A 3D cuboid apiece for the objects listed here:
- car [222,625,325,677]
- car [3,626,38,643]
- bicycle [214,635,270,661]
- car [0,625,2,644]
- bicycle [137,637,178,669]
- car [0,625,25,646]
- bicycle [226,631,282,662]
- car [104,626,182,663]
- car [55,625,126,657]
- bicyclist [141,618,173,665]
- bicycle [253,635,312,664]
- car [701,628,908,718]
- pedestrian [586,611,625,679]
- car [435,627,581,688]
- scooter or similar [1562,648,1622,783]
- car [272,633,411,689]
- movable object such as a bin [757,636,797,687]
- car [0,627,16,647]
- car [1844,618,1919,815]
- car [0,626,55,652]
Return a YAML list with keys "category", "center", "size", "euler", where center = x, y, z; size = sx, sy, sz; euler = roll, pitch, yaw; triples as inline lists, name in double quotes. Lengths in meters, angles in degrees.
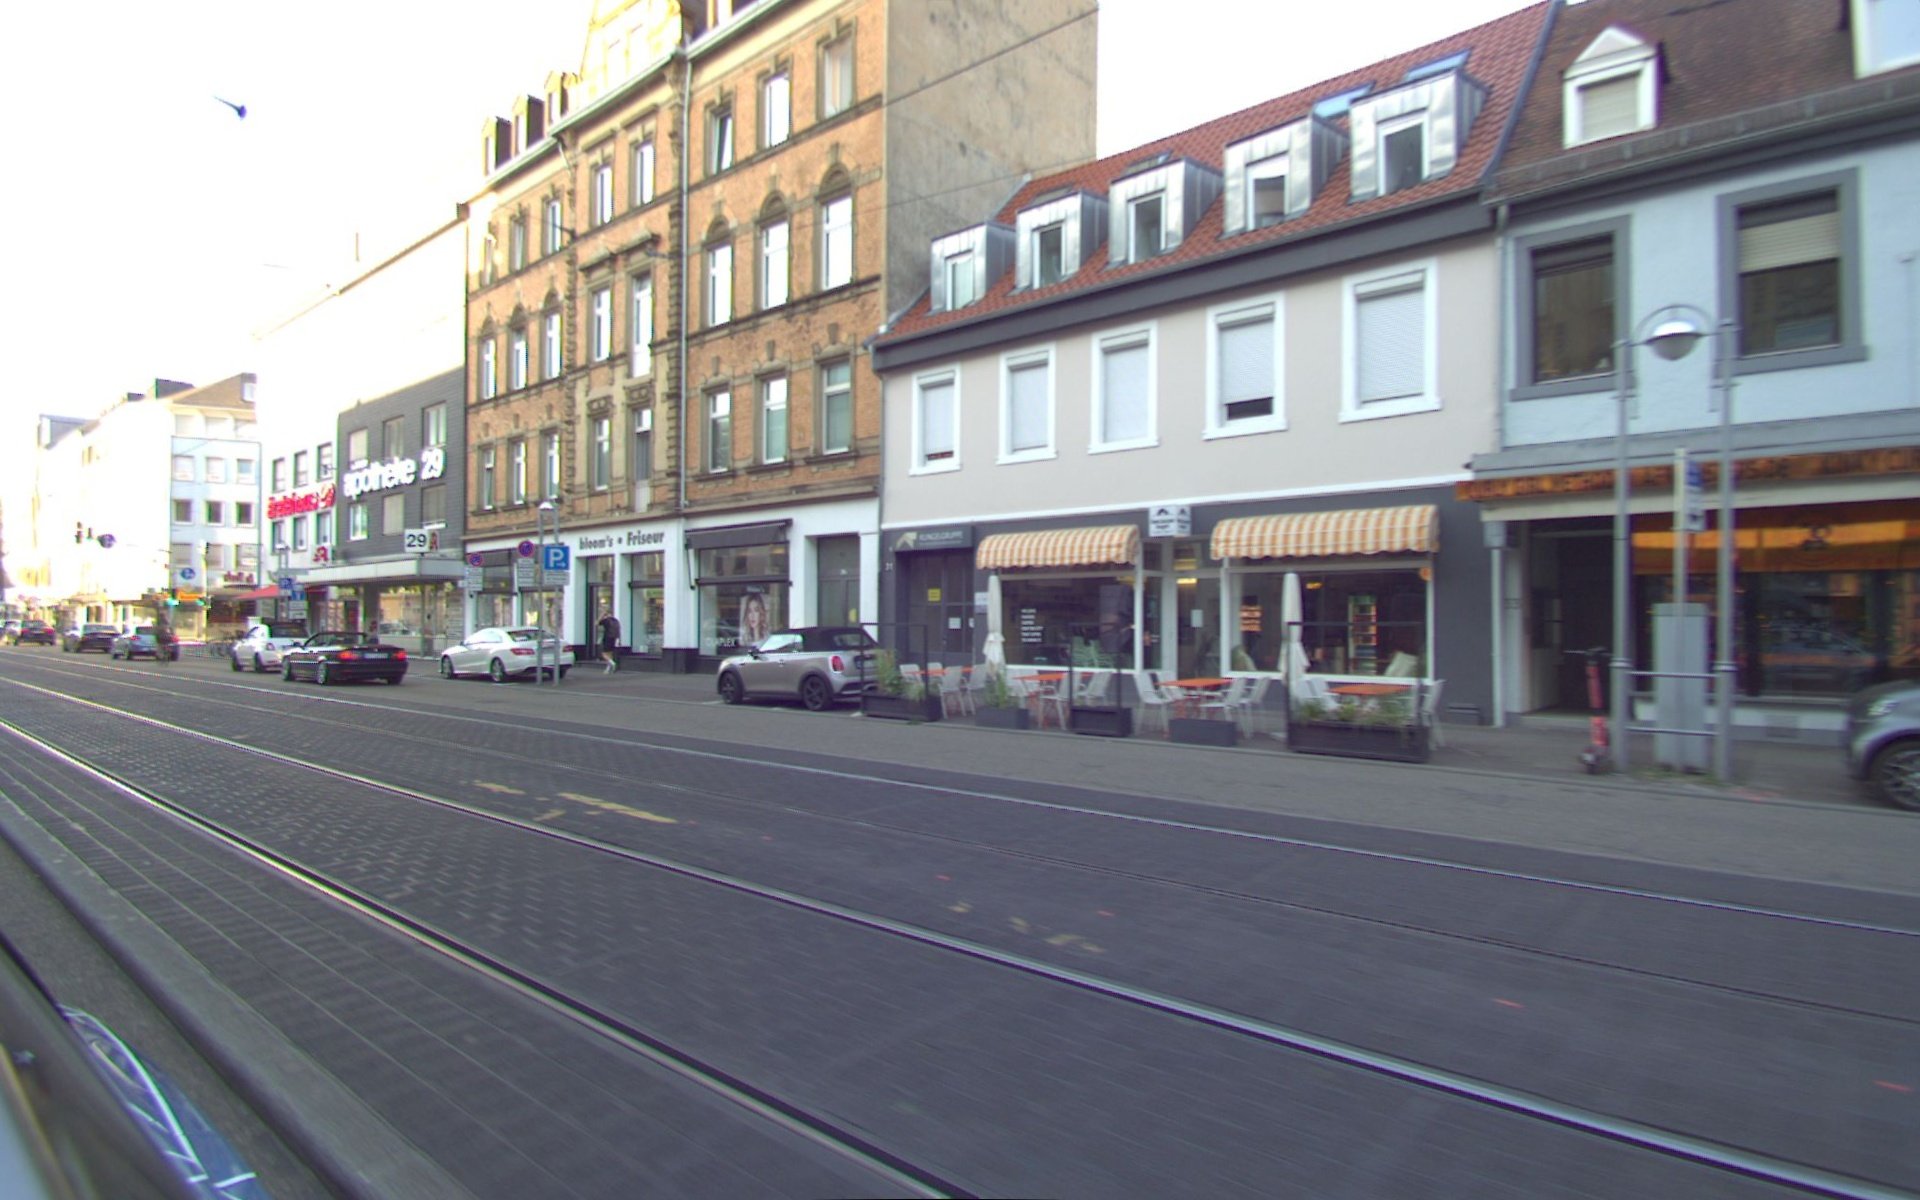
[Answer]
- category: "car"
  center: [-21.108, 1.550, 31.075]
  size: [3.678, 1.517, 1.650]
  euler: [-1, -4, 41]
- category: "car"
  center: [-75.067, 2.722, 80.866]
  size: [4.001, 1.304, 1.822]
  euler: [-1, -2, 44]
- category: "bicycle"
  center: [-30.789, 2.040, 43.432]
  size: [0.607, 0.991, 1.837]
  euler: [-1, 1, 41]
- category: "car"
  center: [-89.475, 3.167, 93.060]
  size: [4.001, 1.647, 1.822]
  euler: [-1, -2, 44]
- category: "bicycle"
  center: [-27.187, 1.782, 34.272]
  size: [2.080, 1.042, 0.686]
  euler: [-1, -2, 40]
- category: "car"
  center: [-78.636, 2.899, 83.596]
  size: [4.001, 1.647, 1.822]
  euler: [-1, -2, 44]
- category: "bicycle"
  center: [-29.670, 1.950, 42.558]
  size: [0.607, 1.143, 1.837]
  euler: [-1, 1, 41]
- category: "car"
  center: [-32.841, 1.767, 40.671]
  size: [4.059, 1.397, 1.740]
  euler: [-1, -4, 42]
- category: "car"
  center: [-41.307, 1.944, 48.061]
  size: [4.562, 1.397, 1.894]
  euler: [-1, -4, 42]
- category: "bicyclist"
  center: [-27.226, 1.386, 34.305]
  size: [0.798, 1.577, 0.686]
  euler: [-1, -2, 39]
- category: "bicycle"
  center: [-26.517, 1.924, 39.629]
  size: [0.462, 0.991, 1.837]
  euler: [-1, 1, 41]
- category: "car"
  center: [-2.939, 1.257, 18.708]
  size: [3.863, 1.400, 1.716]
  euler: [-1, 1, 42]
- category: "pedestrian"
  center: [-9.583, 1.196, 27.364]
  size: [0.854, 1.786, 0.641]
  euler: [-1, -1, 41]
- category: "car"
  center: [-11.972, 1.457, 26.696]
  size: [4.269, 1.400, 1.742]
  euler: [-1, 1, 39]
- category: "scooter or similar"
  center: [6.450, 1.140, 10.315]
  size: [0.294, 1.214, 1.300]
  euler: [-1, 0, 41]
- category: "car"
  center: [-15.321, 1.470, 24.989]
  size: [4.271, 1.237, 1.650]
  euler: [-1, -4, 41]
- category: "movable object such as a bin"
  center: [-4.273, 1.425, 23.617]
  size: [0.728, 1.140, 0.584]
  euler: [-1, -2, 41]
- category: "car"
  center: [-83.337, 3.184, 87.793]
  size: [4.001, 1.647, 1.822]
  euler: [-1, -2, 44]
- category: "car"
  center: [8.938, 0.933, 8.044]
  size: [2.810, 1.516, 1.575]
  euler: [-1, 1, 40]
- category: "car"
  center: [-53.071, 2.214, 57.472]
  size: [4.562, 1.397, 1.894]
  euler: [-1, -4, 42]
